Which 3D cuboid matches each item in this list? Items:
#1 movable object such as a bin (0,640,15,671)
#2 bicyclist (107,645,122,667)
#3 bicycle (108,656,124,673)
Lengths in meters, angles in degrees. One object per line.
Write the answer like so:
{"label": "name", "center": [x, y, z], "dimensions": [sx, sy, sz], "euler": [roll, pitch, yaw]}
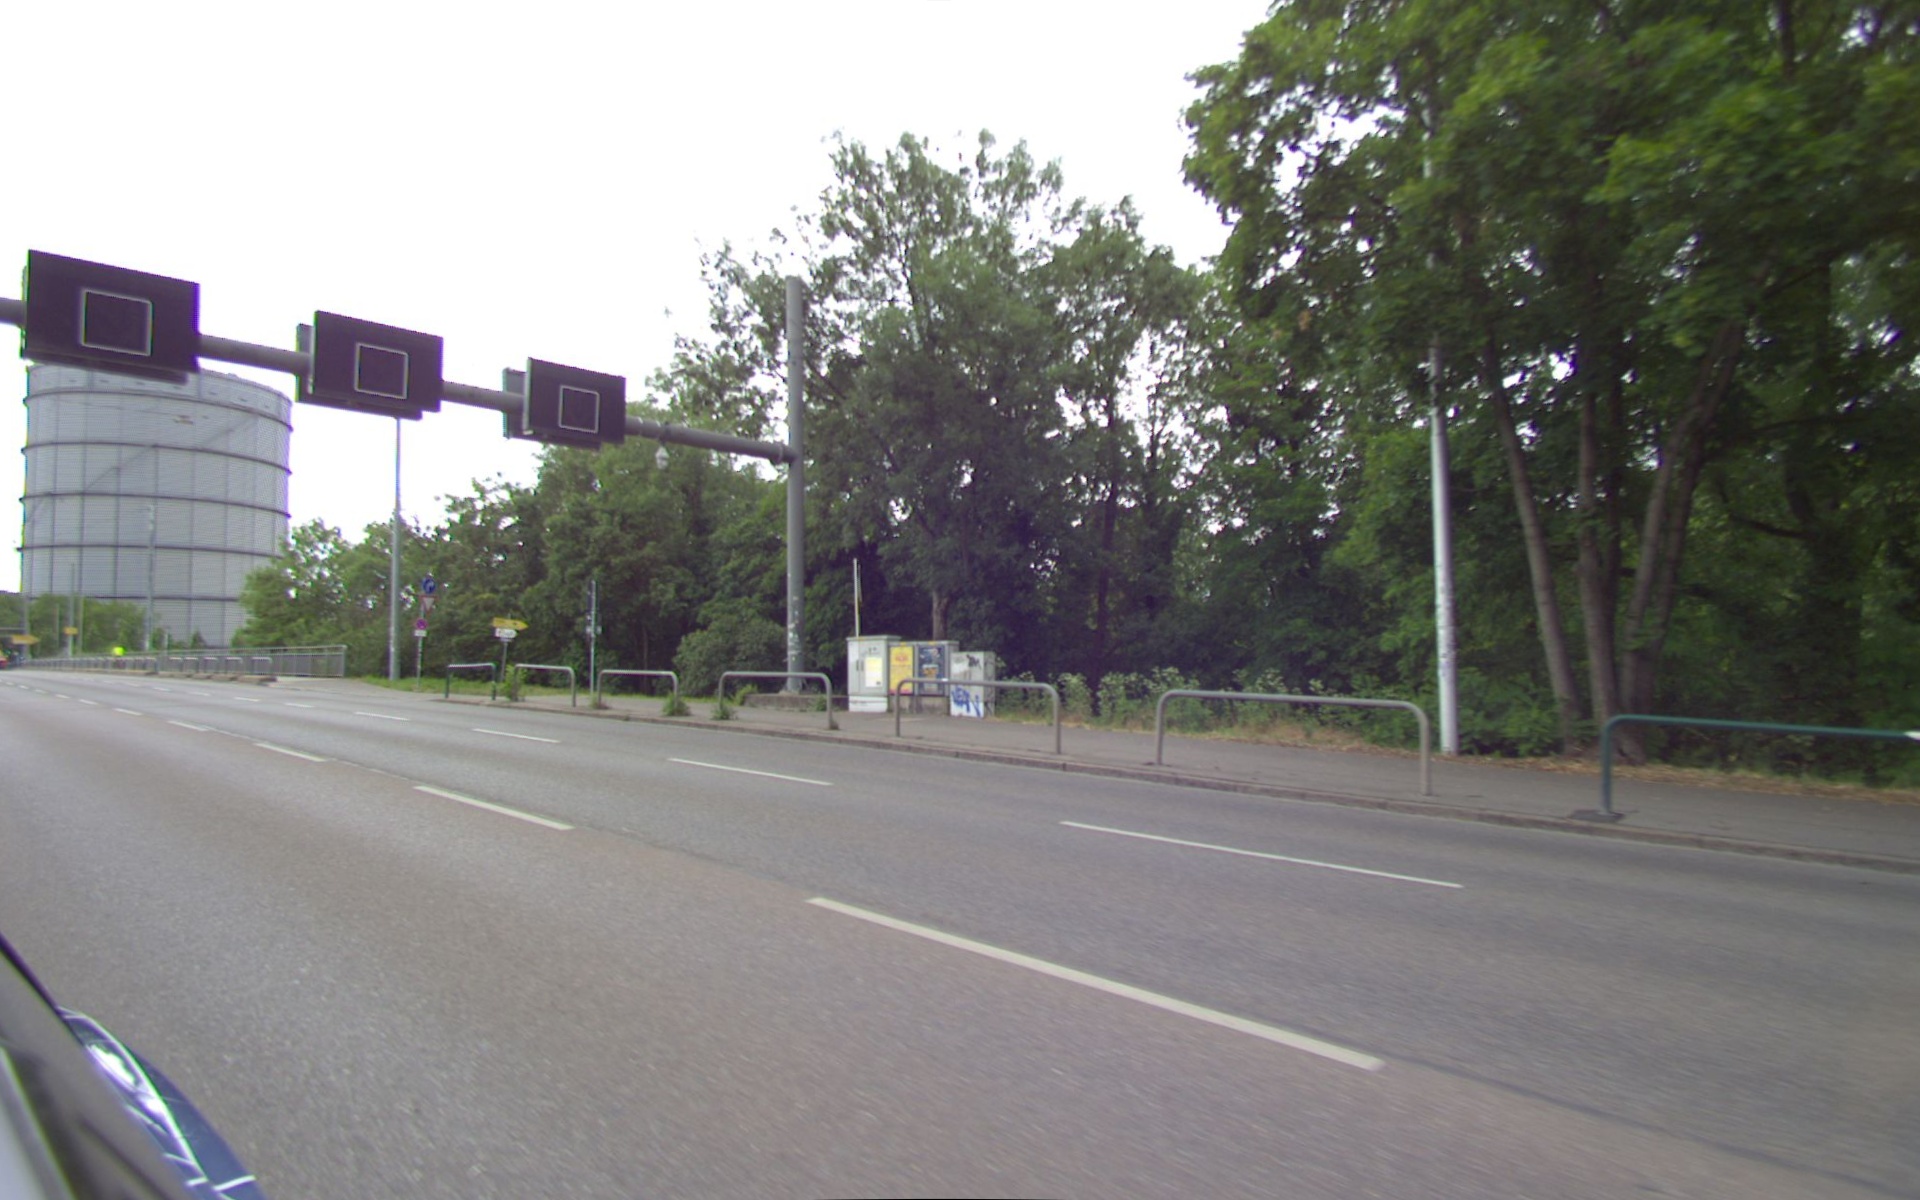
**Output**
{"label": "movable object such as a bin", "center": [-108.013, 6.148, 112.612], "dimensions": [9.359, 3.348, 3.417], "euler": [-3, -6, 43]}
{"label": "bicyclist", "center": [-59.258, 3.906, 70.922], "dimensions": [0.671, 1.486, 0.619], "euler": [-4, 3, 45]}
{"label": "bicycle", "center": [-59.163, 4.505, 70.928], "dimensions": [0.628, 1.072, 1.983], "euler": [-8, 3, -44]}
